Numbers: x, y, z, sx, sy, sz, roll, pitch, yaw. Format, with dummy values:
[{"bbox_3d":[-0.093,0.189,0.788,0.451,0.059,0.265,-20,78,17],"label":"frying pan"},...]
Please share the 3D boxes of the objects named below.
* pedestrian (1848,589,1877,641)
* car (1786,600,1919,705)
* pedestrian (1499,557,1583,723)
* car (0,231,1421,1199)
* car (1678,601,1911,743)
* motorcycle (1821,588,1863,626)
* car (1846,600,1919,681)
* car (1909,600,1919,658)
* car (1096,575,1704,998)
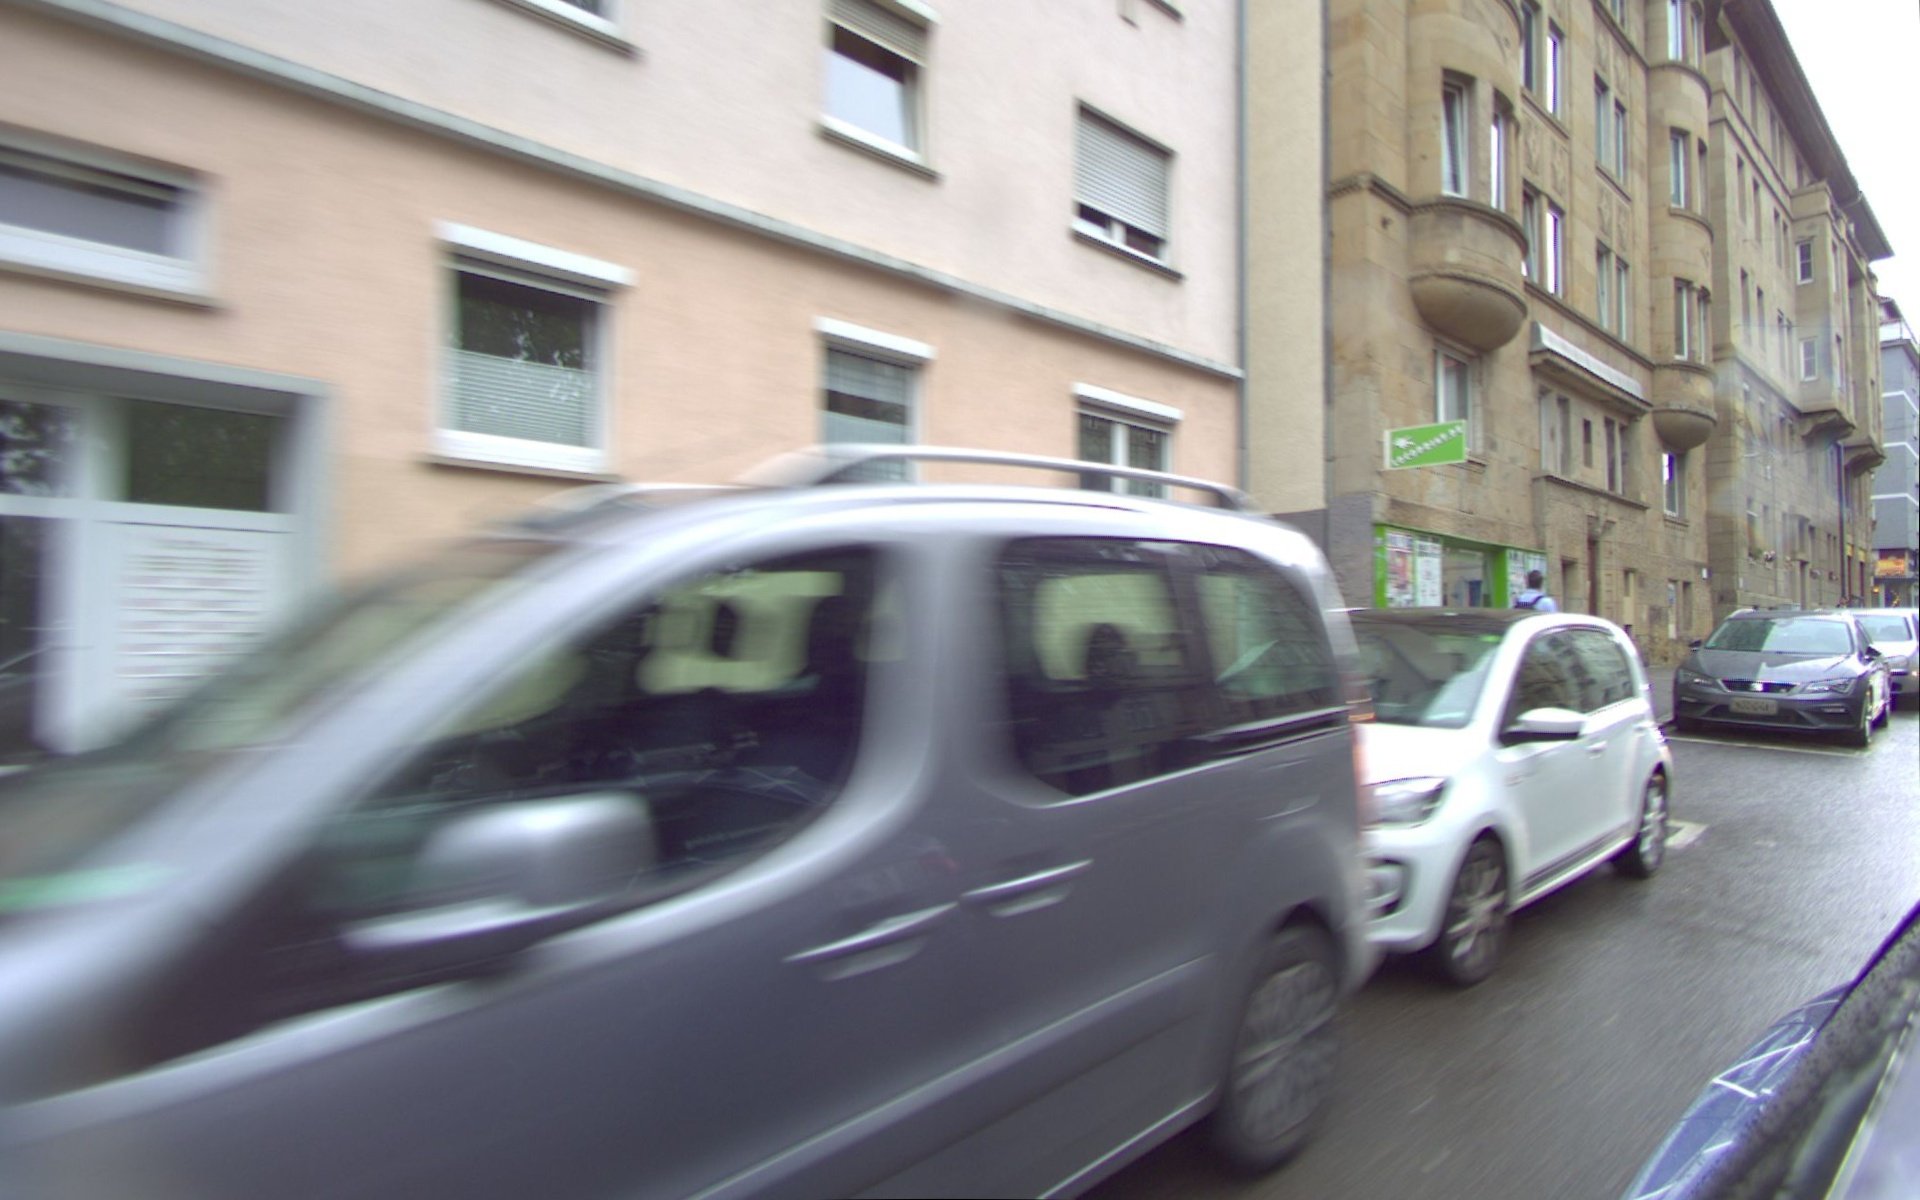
[{"bbox_3d":[27.306,0.455,30.624,0.697,1.555,0.562,0,-1,-41],"label":"pedestrian"},{"bbox_3d":[14.483,0.738,16.006,3.889,1.452,1.670,0,1,-43],"label":"car"},{"bbox_3d":[6.482,0.420,11.290,0.677,1.785,0.608,0,1,-42],"label":"pedestrian"},{"bbox_3d":[-0.740,0.528,2.341,4.139,1.787,1.793,0,1,-42],"label":"car"},{"bbox_3d":[10.282,0.734,12.348,4.239,1.428,1.671,0,0,-43],"label":"car"},{"bbox_3d":[29.383,0.228,33.699,2.698,1.214,0.706,0,0,-41],"label":"motorcycle"},{"bbox_3d":[18.668,0.740,19.870,3.622,1.452,1.592,0,0,-44],"label":"car"},{"bbox_3d":[25.569,0.734,25.967,3.388,1.433,1.545,0,0,-43],"label":"car"},{"bbox_3d":[2.480,0.646,5.316,3.536,1.480,1.573,0,0,-41],"label":"car"}]
